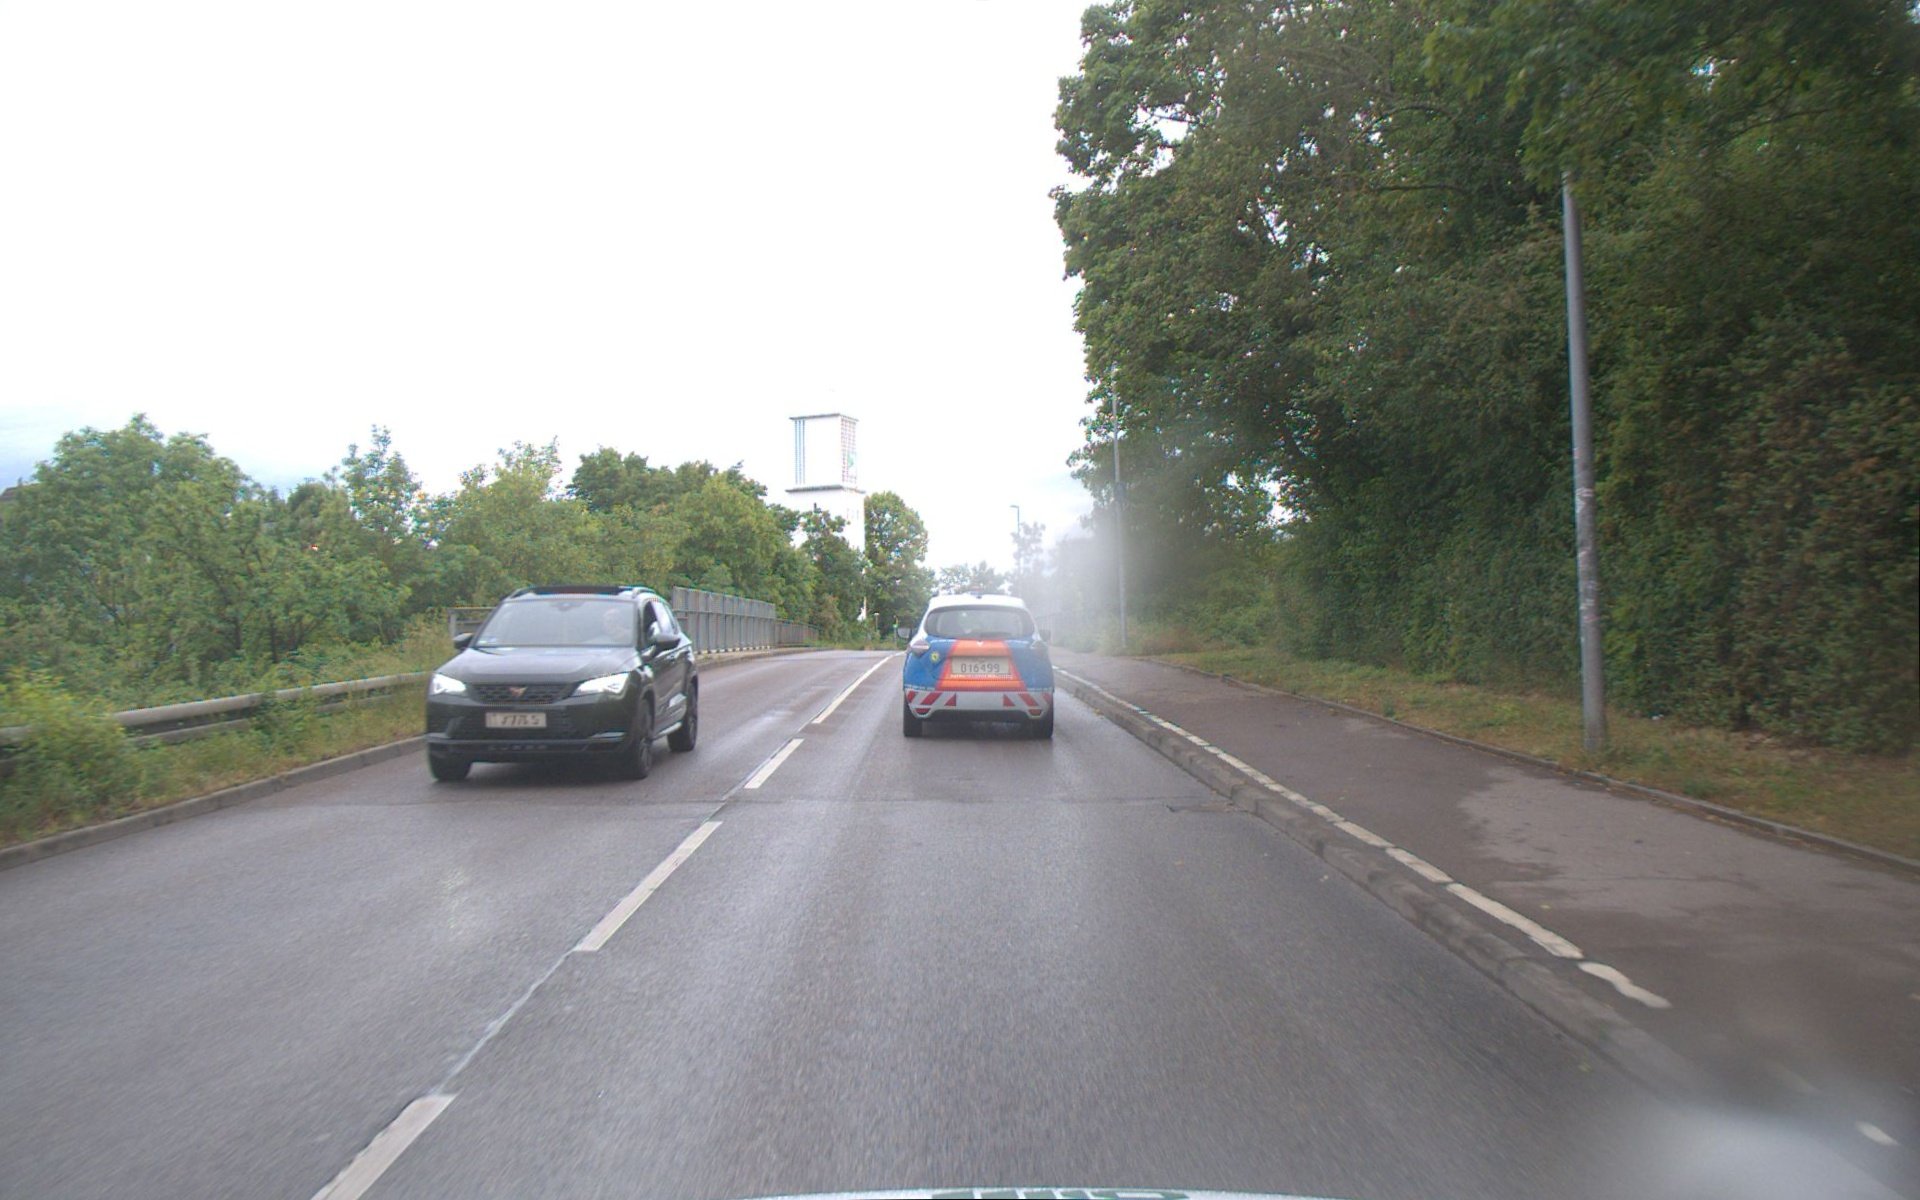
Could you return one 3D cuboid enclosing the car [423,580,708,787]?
[{"bbox_3d":[-3.439,0.646,15.161,1.695,1.613,4.079,-1,0,-1],"label":"car"}]

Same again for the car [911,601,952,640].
[{"bbox_3d":[-1.258,0.900,74.108,1.765,1.618,3.562,-2,0,-1],"label":"car"}]

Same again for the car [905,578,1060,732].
[{"bbox_3d":[0.217,0.603,19.400,1.624,1.621,3.567,-1,-1,-1],"label":"car"}]
